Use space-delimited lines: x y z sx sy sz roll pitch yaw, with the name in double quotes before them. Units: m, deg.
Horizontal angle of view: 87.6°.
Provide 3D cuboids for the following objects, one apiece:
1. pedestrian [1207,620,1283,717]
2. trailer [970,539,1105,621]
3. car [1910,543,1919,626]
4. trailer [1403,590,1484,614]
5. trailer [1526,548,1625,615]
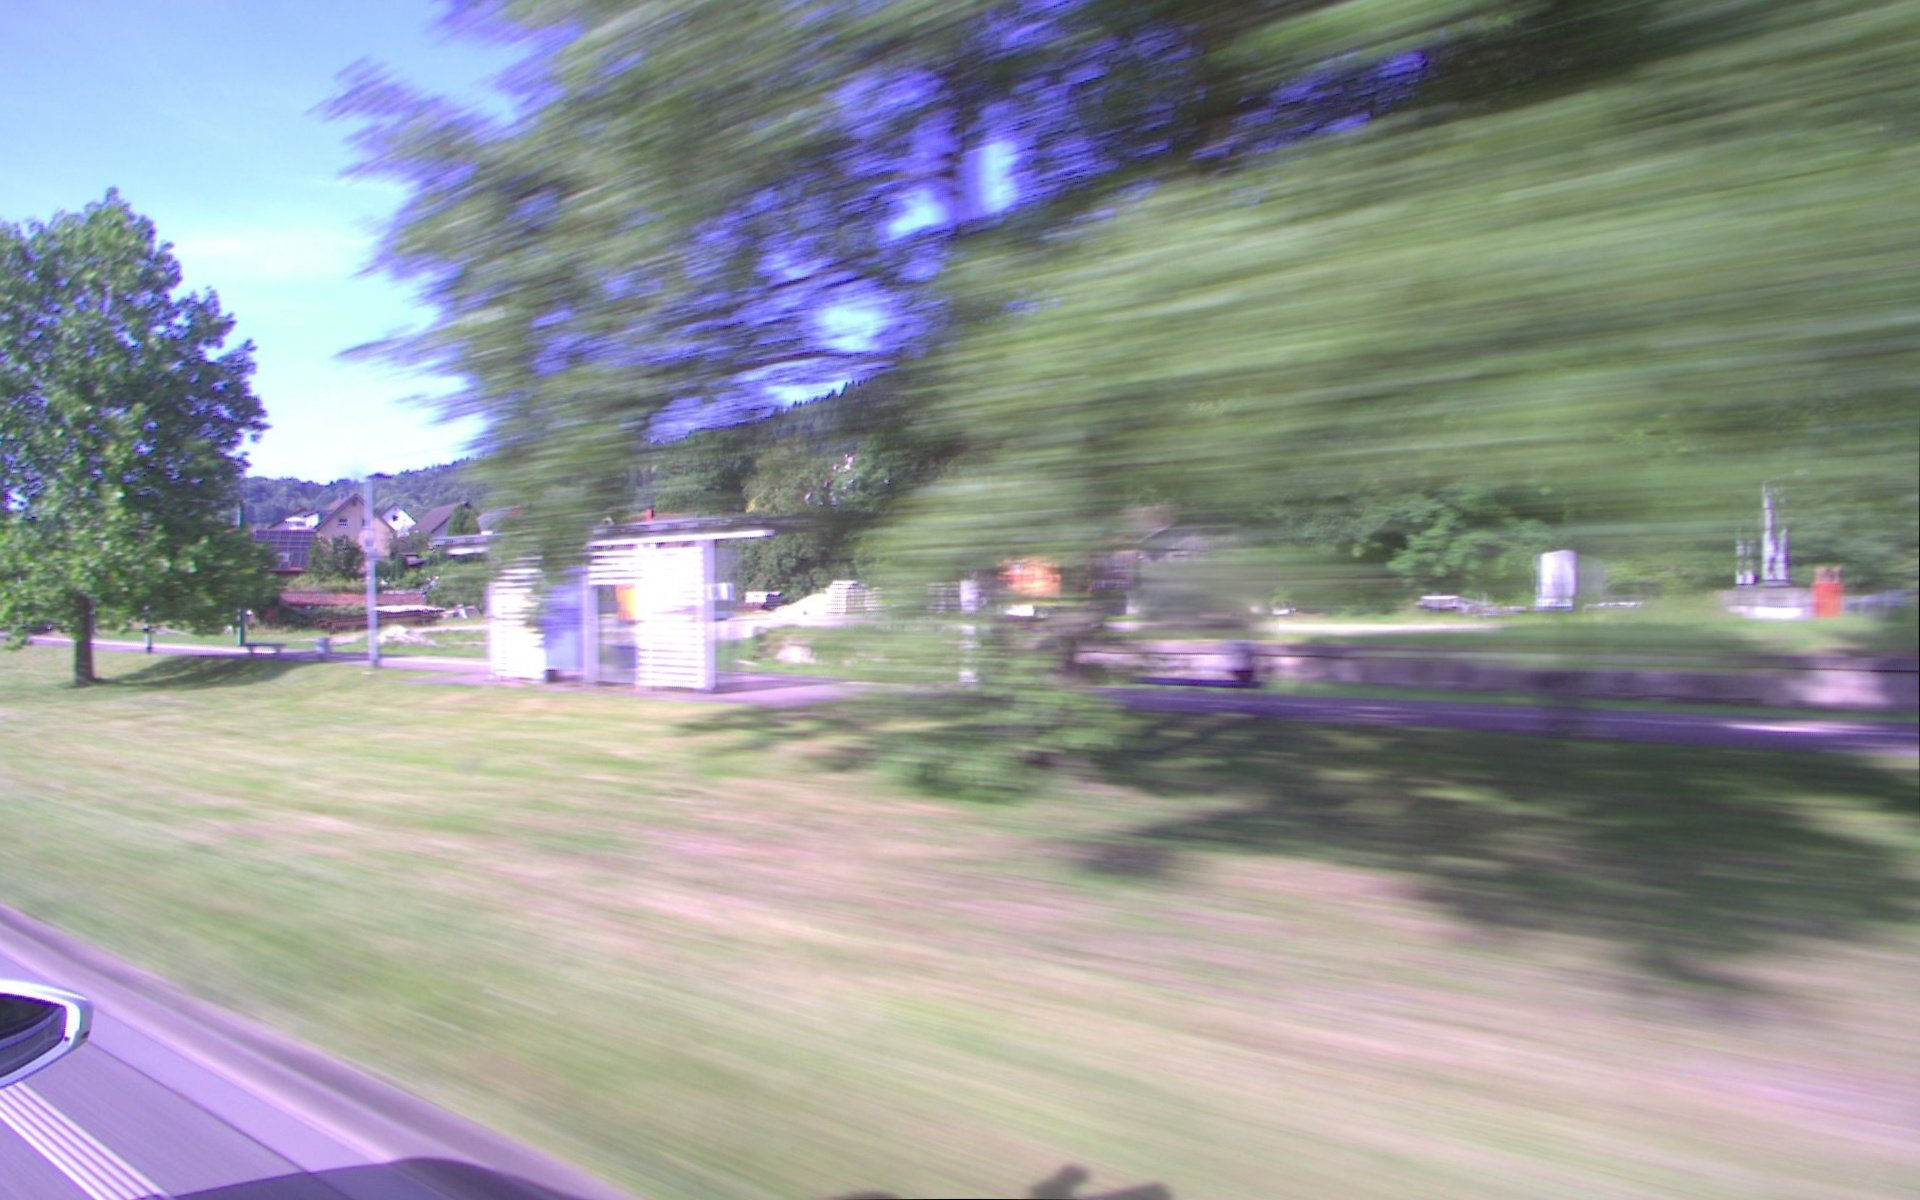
"pedestrian" 3.620 0.850 12.722 0.718 1.176 0.632 0 1 43
"trailer" 3.859 -0.939 51.919 2.582 3.945 7.676 -1 0 -36
"car" 19.844 -0.365 18.925 1.909 1.712 4.940 0 -1 34
"trailer" 19.381 0.096 40.123 3.034 0.927 1.724 0 0 -37
"trailer" 21.755 -0.609 35.377 3.659 2.218 1.805 0 0 -37
